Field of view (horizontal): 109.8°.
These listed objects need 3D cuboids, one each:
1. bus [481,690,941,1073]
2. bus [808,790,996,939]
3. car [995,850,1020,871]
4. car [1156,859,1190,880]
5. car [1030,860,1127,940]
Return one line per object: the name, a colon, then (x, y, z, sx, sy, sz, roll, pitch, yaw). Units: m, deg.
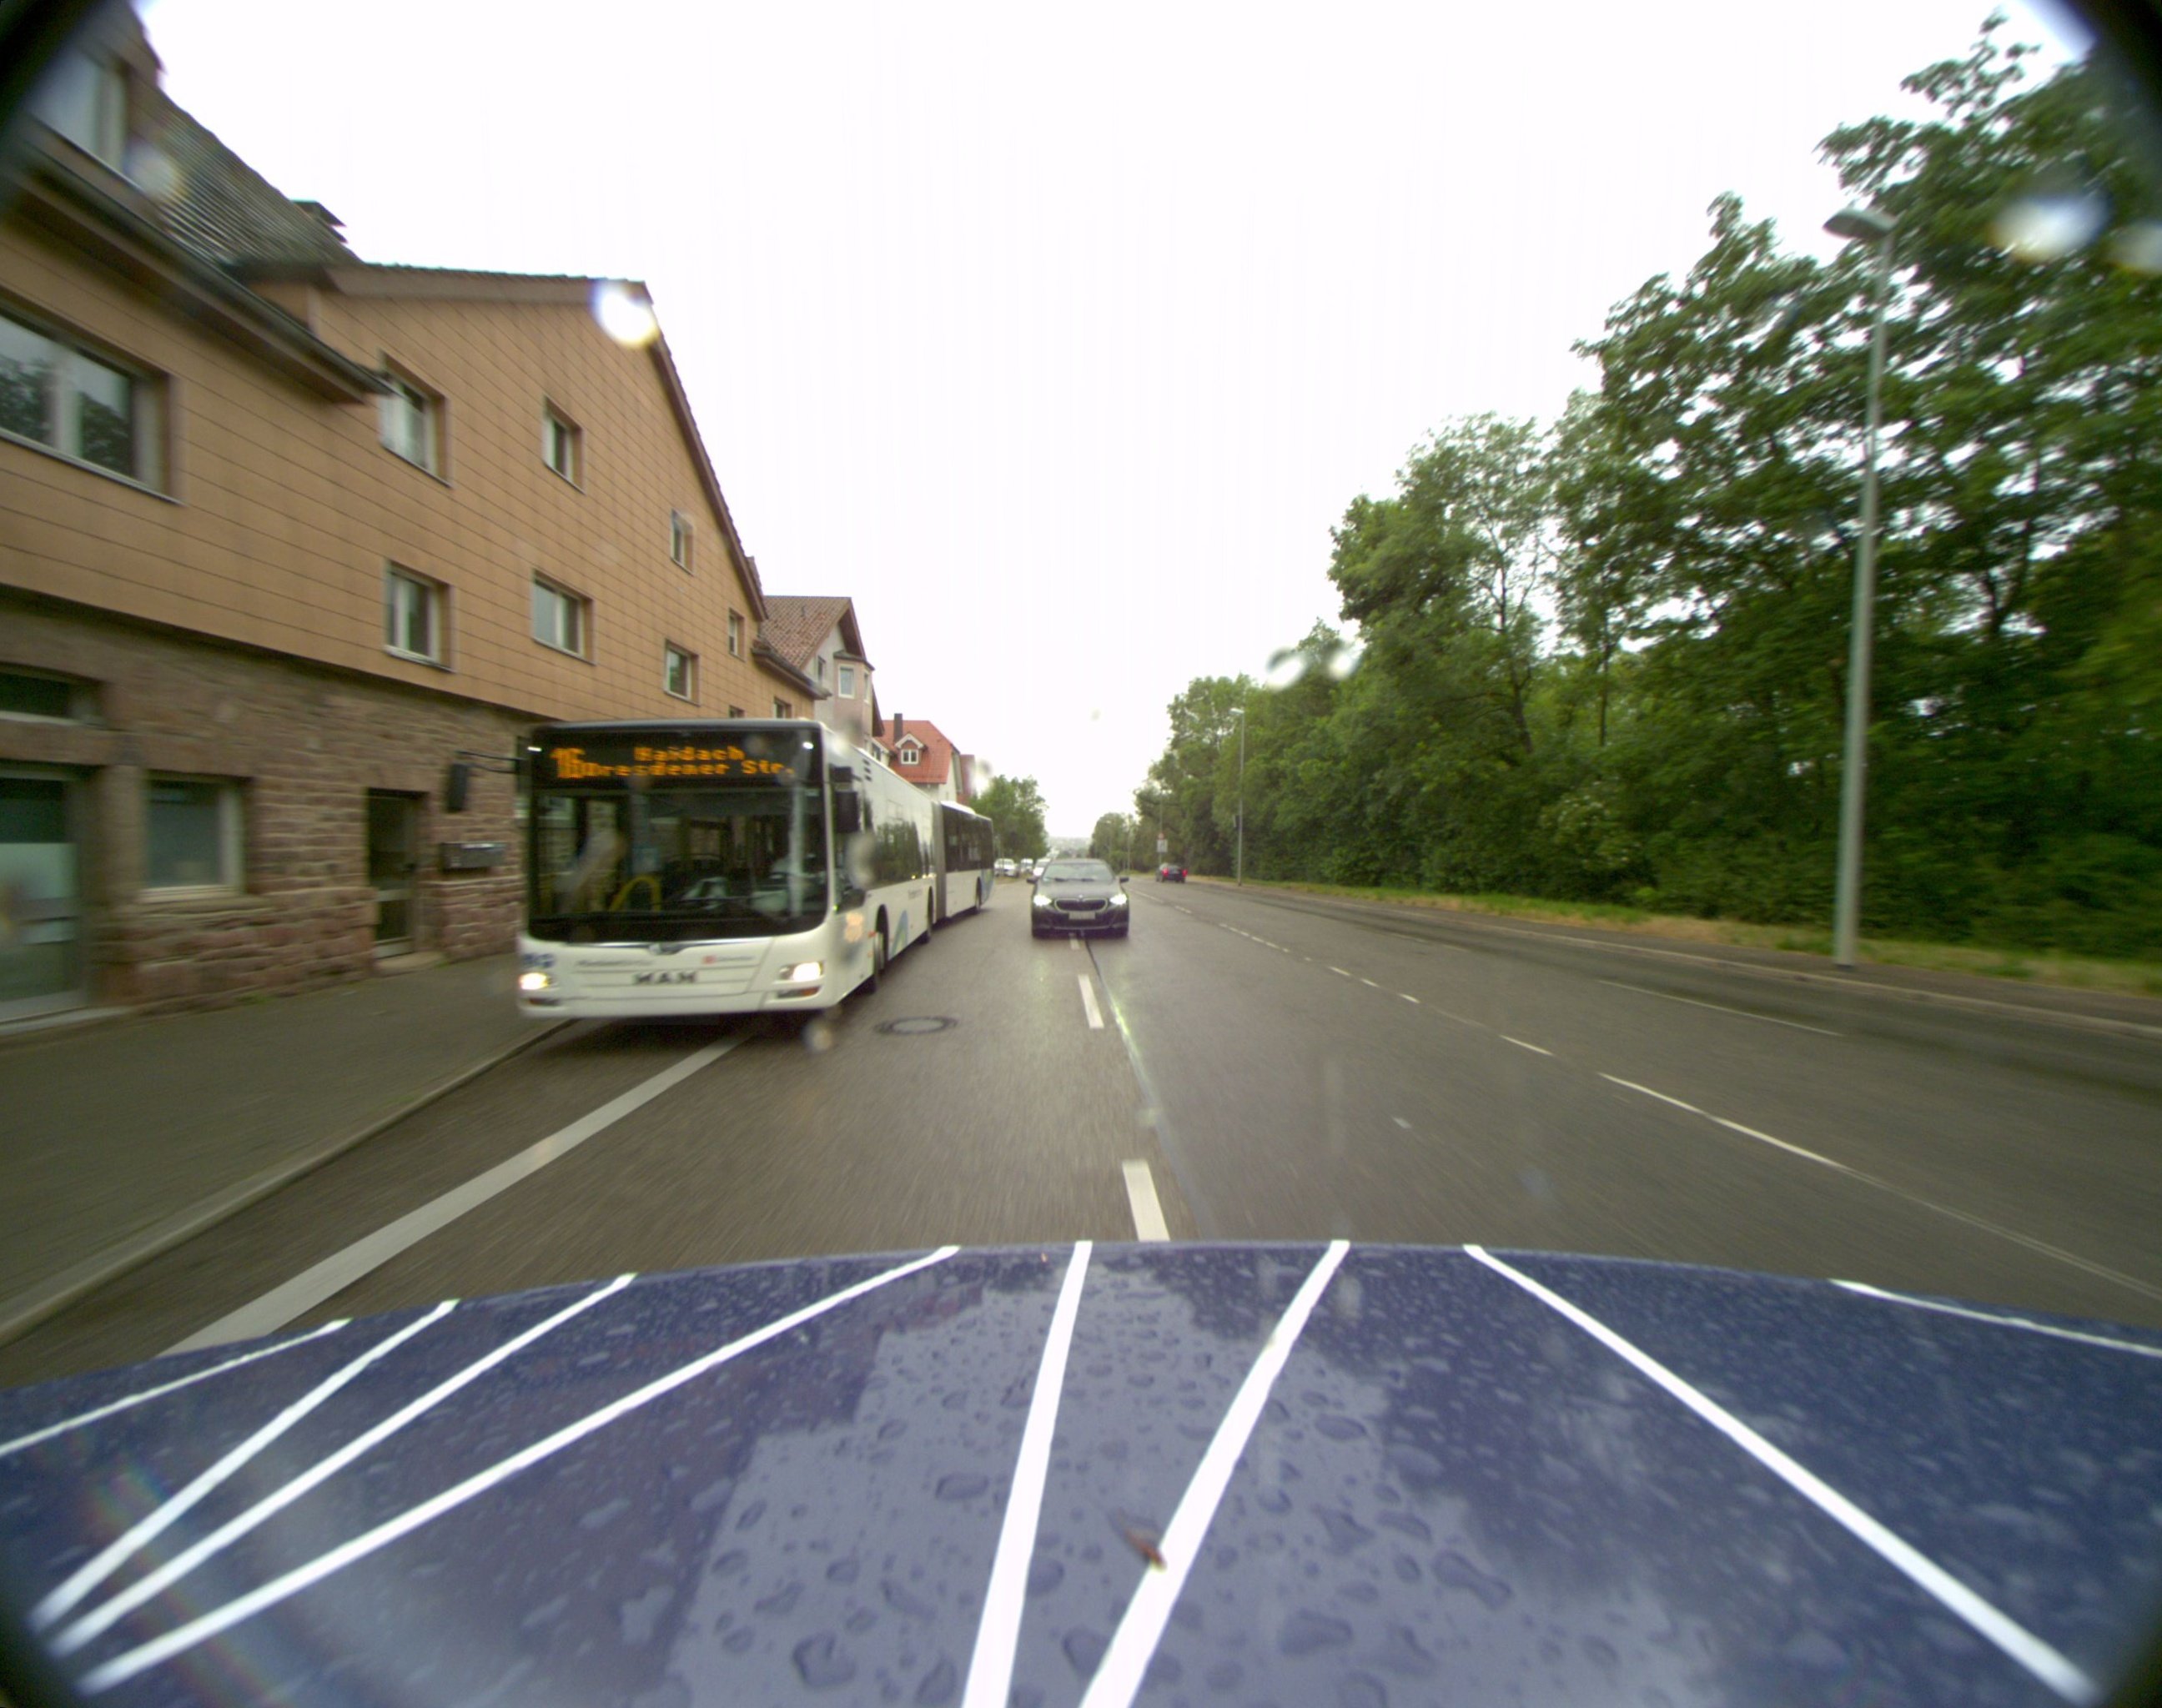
bus: (-3.727, 0.208, 10.659, 2.564, 2.942, 9.445, -1, 0, -5)
bus: (-4.034, 0.218, 19.387, 2.561, 2.942, 8.558, 0, 0, 1)
car: (-6.238, 0.519, 64.767, 1.927, 1.651, 4.481, 1, 0, -3)
car: (6.739, 1.105, 56.198, 1.749, 1.423, 4.387, 2, 0, -3)
car: (-0.122, 0.902, 17.007, 1.856, 1.461, 4.482, -2, 0, -2)
